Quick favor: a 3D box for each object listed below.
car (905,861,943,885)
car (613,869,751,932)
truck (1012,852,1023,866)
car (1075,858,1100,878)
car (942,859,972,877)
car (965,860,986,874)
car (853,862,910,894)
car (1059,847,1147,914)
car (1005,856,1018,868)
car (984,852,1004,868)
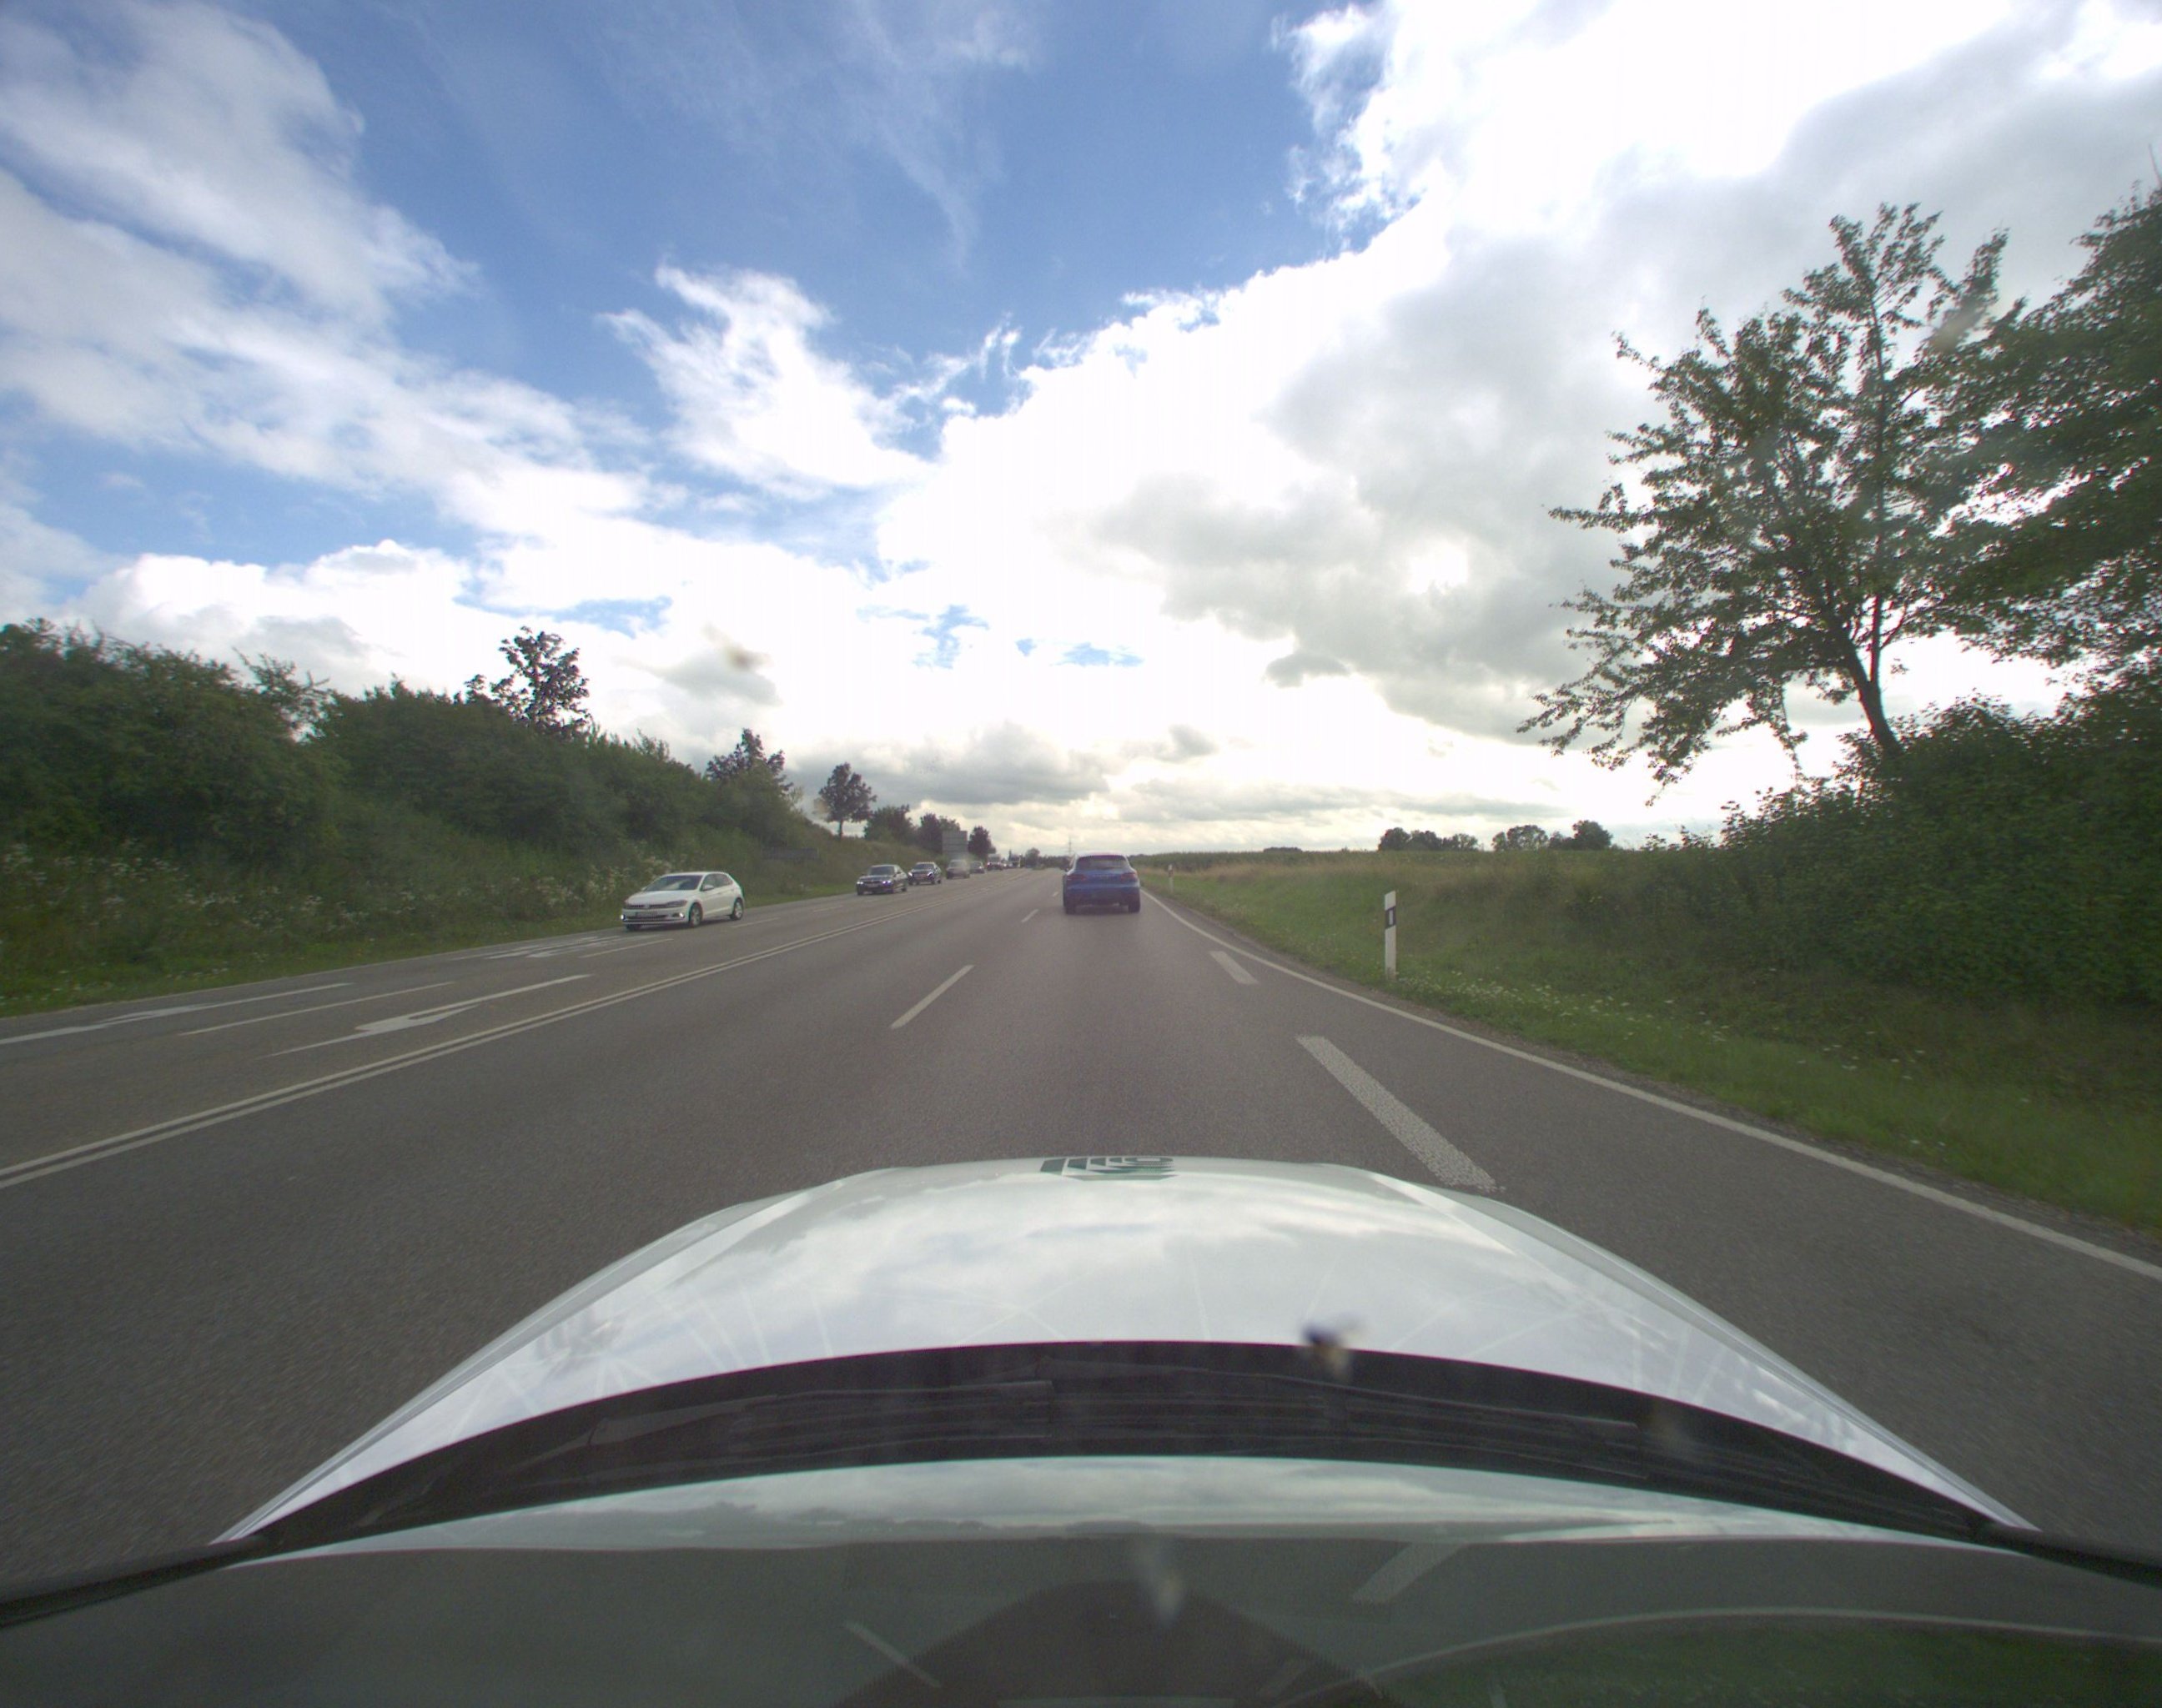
[{"bbox_3d":[-10.802,1.302,56.365,1.791,1.486,4.168,-2,0,0],"label":"car"},{"bbox_3d":[-10.588,1.179,21.971,1.663,1.442,4.145,-2,0,0],"label":"car"},{"bbox_3d":[-17.290,1.444,221.811,2.564,3.635,14.636,-2,0,-5],"label":"truck"},{"bbox_3d":[0.510,1.160,68.184,1.987,1.535,3.999,-1,0,0],"label":"car"},{"bbox_3d":[-11.133,1.200,73.393,1.987,1.508,3.999,-2,0,0],"label":"car"},{"bbox_3d":[-12.374,1.532,95.716,1.988,1.491,3.997,-2,0,-2],"label":"car"},{"bbox_3d":[-10.067,1.185,41.414,1.988,1.508,3.997,-2,0,-2],"label":"car"},{"bbox_3d":[0.481,0.665,22.436,1.989,1.570,4.751,-2,0,-3],"label":"car"},{"bbox_3d":[-13.461,1.558,158.506,2.359,2.211,5.299,-2,0,-5],"label":"car"},{"bbox_3d":[-12.546,0.803,117.607,2.357,2.211,5.919,-2,0,-1],"label":"car"}]
